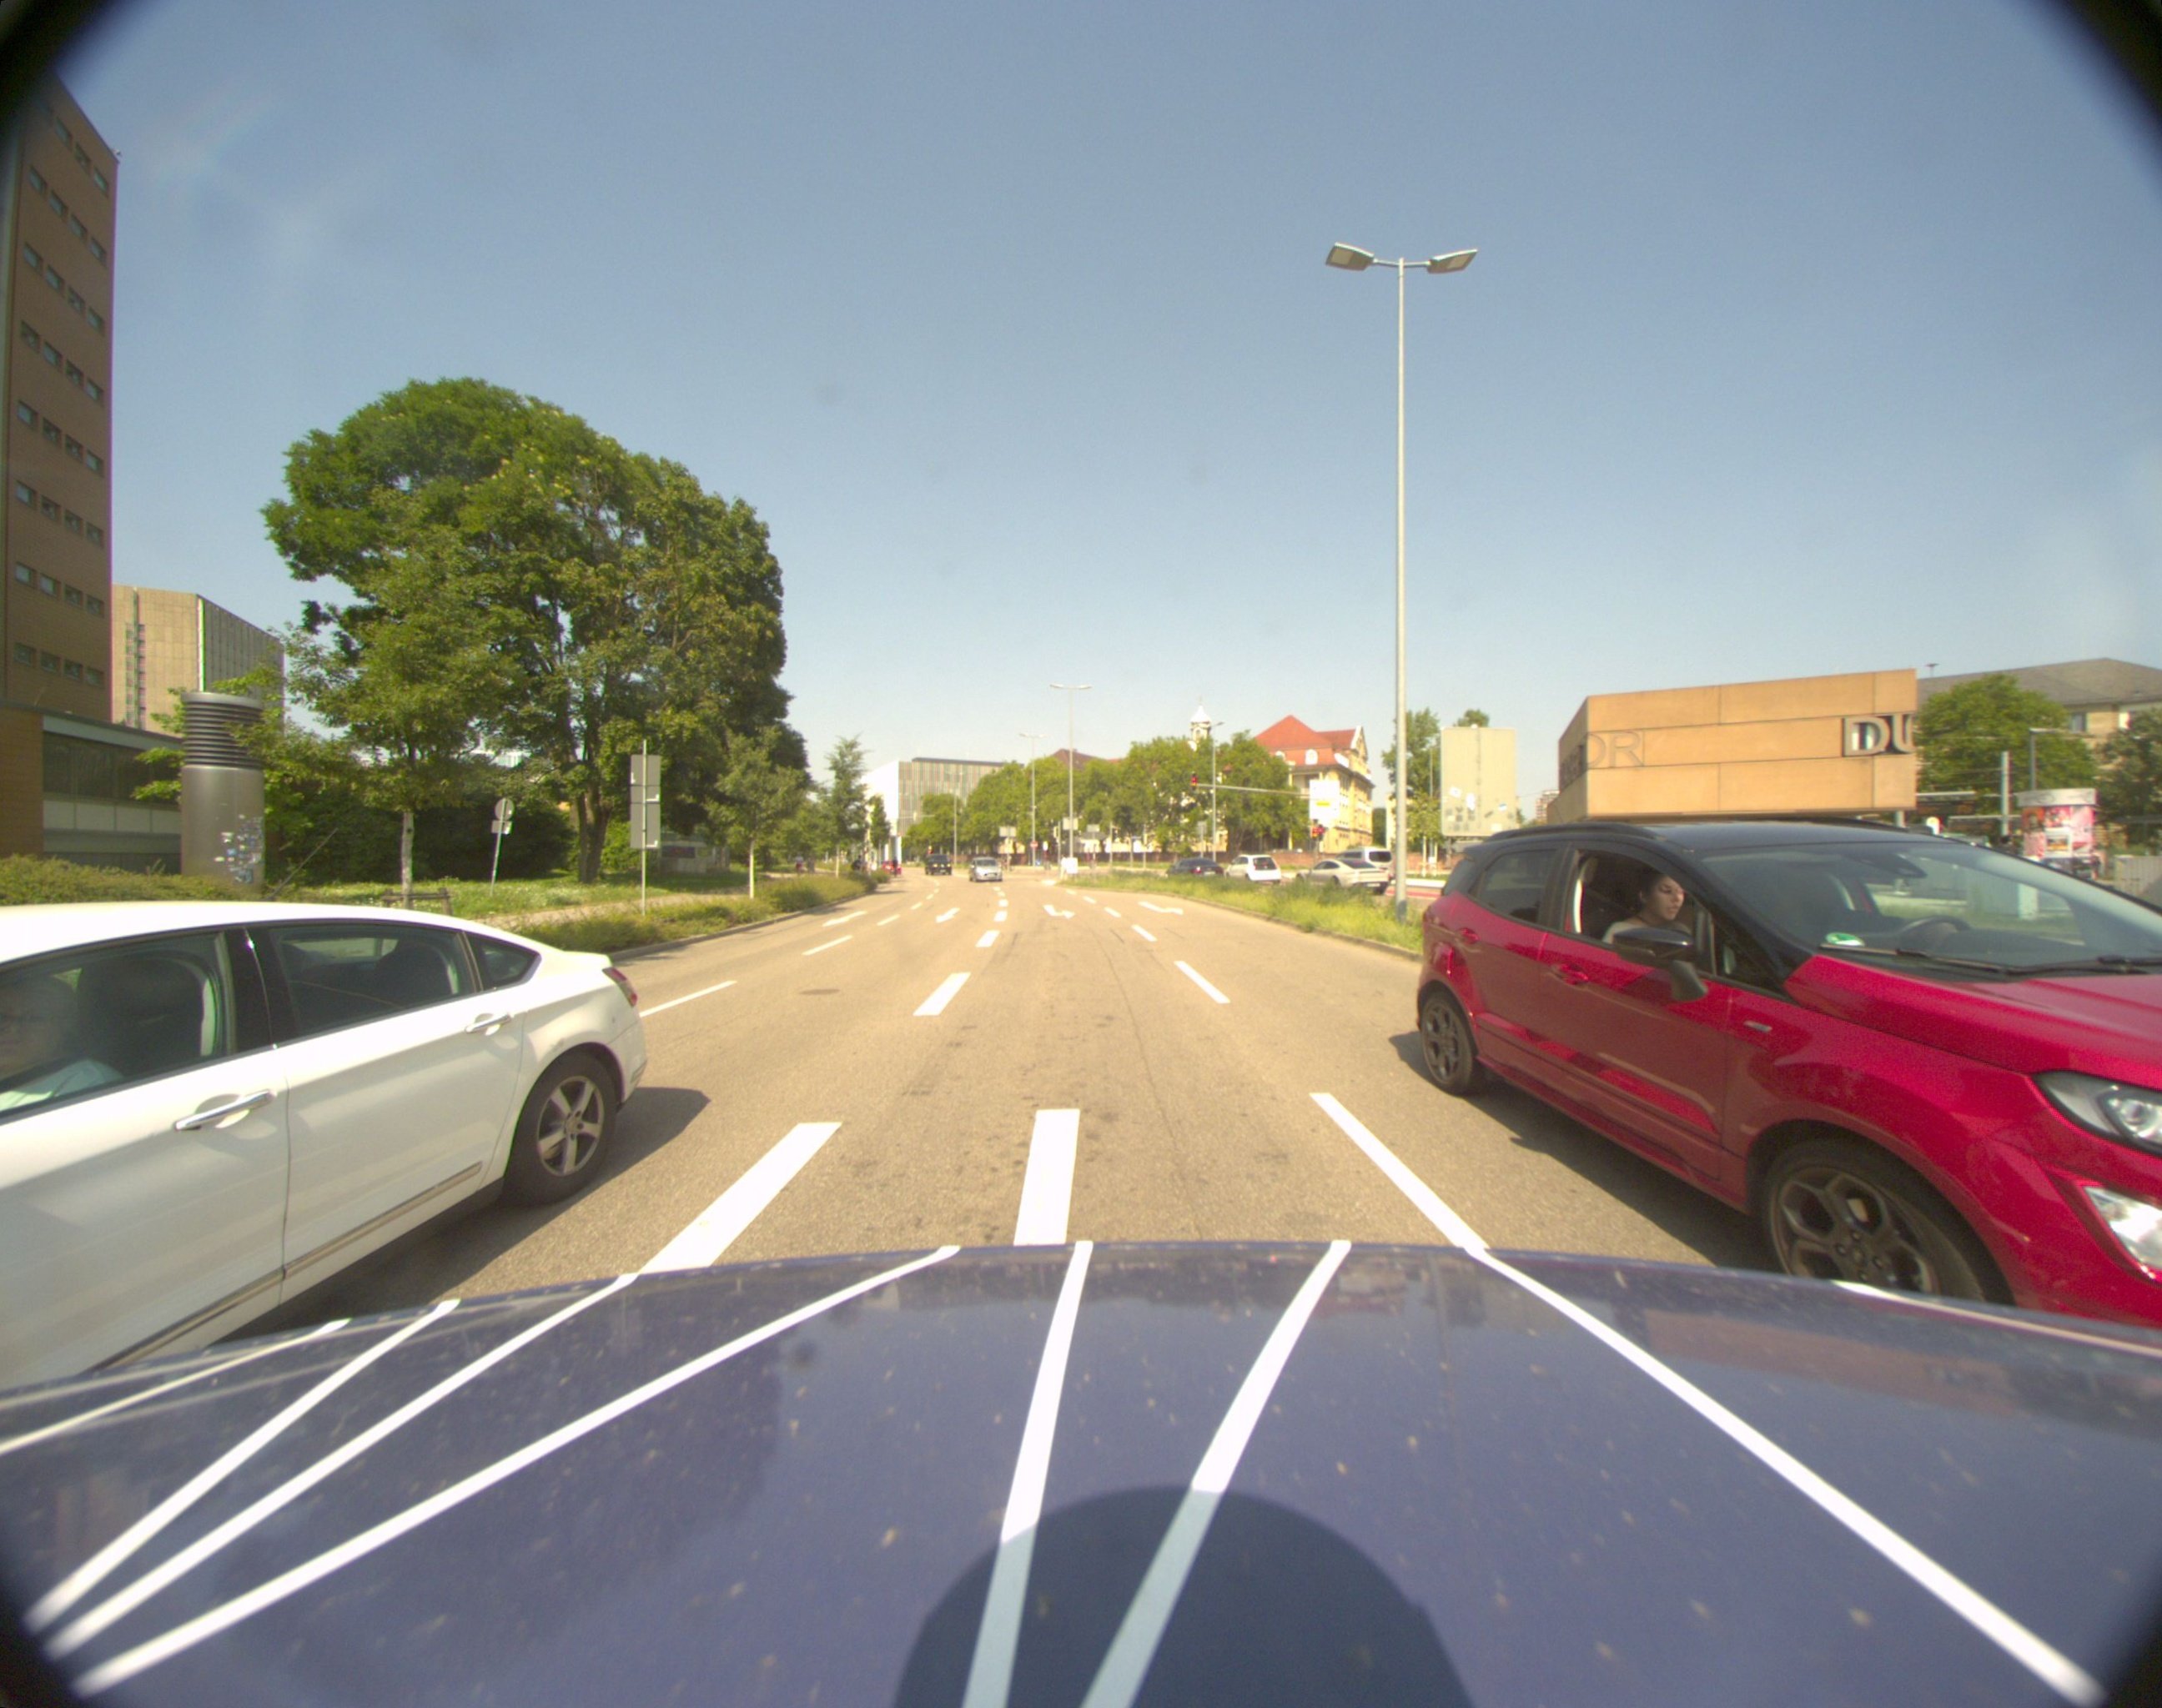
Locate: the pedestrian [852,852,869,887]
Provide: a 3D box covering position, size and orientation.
[{"bbox_3d":[-11.821,0.826,40.721,0.823,1.892,0.630,-1,1,-12],"label":"pedestrian"}]

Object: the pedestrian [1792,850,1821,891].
[{"bbox_3d":[26.749,0.599,28.023,0.539,1.488,0.541,0,1,-1],"label":"pedestrian"}]

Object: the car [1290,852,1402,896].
[{"bbox_3d":[10.253,0.730,29.846,2.001,1.576,4.710,0,0,-12],"label":"car"}]

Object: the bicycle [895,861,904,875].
[{"bbox_3d":[-15.850,1.240,66.421,0.594,1.162,2.234,0,0,-8],"label":"bicycle"}]

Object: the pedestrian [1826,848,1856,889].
[{"bbox_3d":[27.919,0.526,27.908,0.539,1.488,0.541,0,1,-1],"label":"pedestrian"}]

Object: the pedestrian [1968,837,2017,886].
[{"bbox_3d":[28.162,0.219,23.482,0.771,1.488,0.606,0,1,-1],"label":"pedestrian"}]

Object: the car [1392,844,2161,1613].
[{"bbox_3d":[3.007,0.777,3.479,1.694,1.577,3.845,-2,0,3],"label":"car"}]

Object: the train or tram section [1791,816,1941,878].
[{"bbox_3d":[49.189,-0.401,48.239,2.698,3.418,13.446,0,0,28],"label":"train or tram section"}]

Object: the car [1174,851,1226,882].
[{"bbox_3d":[5.714,0.555,36.836,1.526,1.417,3.474,0,0,-8],"label":"car"}]

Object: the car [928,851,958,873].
[{"bbox_3d":[-12.904,0.752,70.940,1.893,1.908,4.526,-2,0,-20],"label":"car"}]

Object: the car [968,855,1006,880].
[{"bbox_3d":[-6.191,0.864,49.539,1.661,1.521,4.527,-2,0,-17],"label":"car"}]

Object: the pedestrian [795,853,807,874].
[{"bbox_3d":[-18.209,0.613,49.484,0.635,1.291,0.486,-3,1,-17],"label":"pedestrian"}]

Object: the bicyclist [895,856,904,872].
[{"bbox_3d":[-15.847,0.881,66.374,0.679,1.392,1.048,0,1,-8],"label":"bicyclist"}]

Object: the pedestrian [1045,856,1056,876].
[{"bbox_3d":[-1.944,0.769,48.638,0.605,1.291,0.617,-2,1,-4],"label":"pedestrian"}]

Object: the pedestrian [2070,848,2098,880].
[{"bbox_3d":[44.404,0.449,33.644,0.554,1.386,0.534,0,1,28],"label":"pedestrian"}]

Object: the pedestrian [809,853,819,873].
[{"bbox_3d":[-17.456,0.583,49.712,0.577,1.291,0.437,-3,1,-17],"label":"pedestrian"}]

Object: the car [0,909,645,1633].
[{"bbox_3d":[-3.288,1.022,1.829,1.773,1.420,4.609,0,0,1],"label":"car"}]

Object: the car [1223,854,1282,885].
[{"bbox_3d":[8.665,0.748,38.633,1.527,1.470,3.473,0,0,-13],"label":"car"}]

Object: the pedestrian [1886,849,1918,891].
[{"bbox_3d":[28.869,0.557,26.725,0.539,1.488,0.541,0,1,-1],"label":"pedestrian"}]

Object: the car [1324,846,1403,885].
[{"bbox_3d":[13.879,0.527,37.616,1.869,1.843,3.911,0,1,-12],"label":"car"}]

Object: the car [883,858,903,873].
[{"bbox_3d":[-18.988,1.153,76.701,1.652,1.422,3.810,-2,0,-18],"label":"car"}]

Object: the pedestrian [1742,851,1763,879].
[{"bbox_3d":[26.789,0.431,30.336,0.538,1.093,0.543,0,1,32],"label":"pedestrian"}]
